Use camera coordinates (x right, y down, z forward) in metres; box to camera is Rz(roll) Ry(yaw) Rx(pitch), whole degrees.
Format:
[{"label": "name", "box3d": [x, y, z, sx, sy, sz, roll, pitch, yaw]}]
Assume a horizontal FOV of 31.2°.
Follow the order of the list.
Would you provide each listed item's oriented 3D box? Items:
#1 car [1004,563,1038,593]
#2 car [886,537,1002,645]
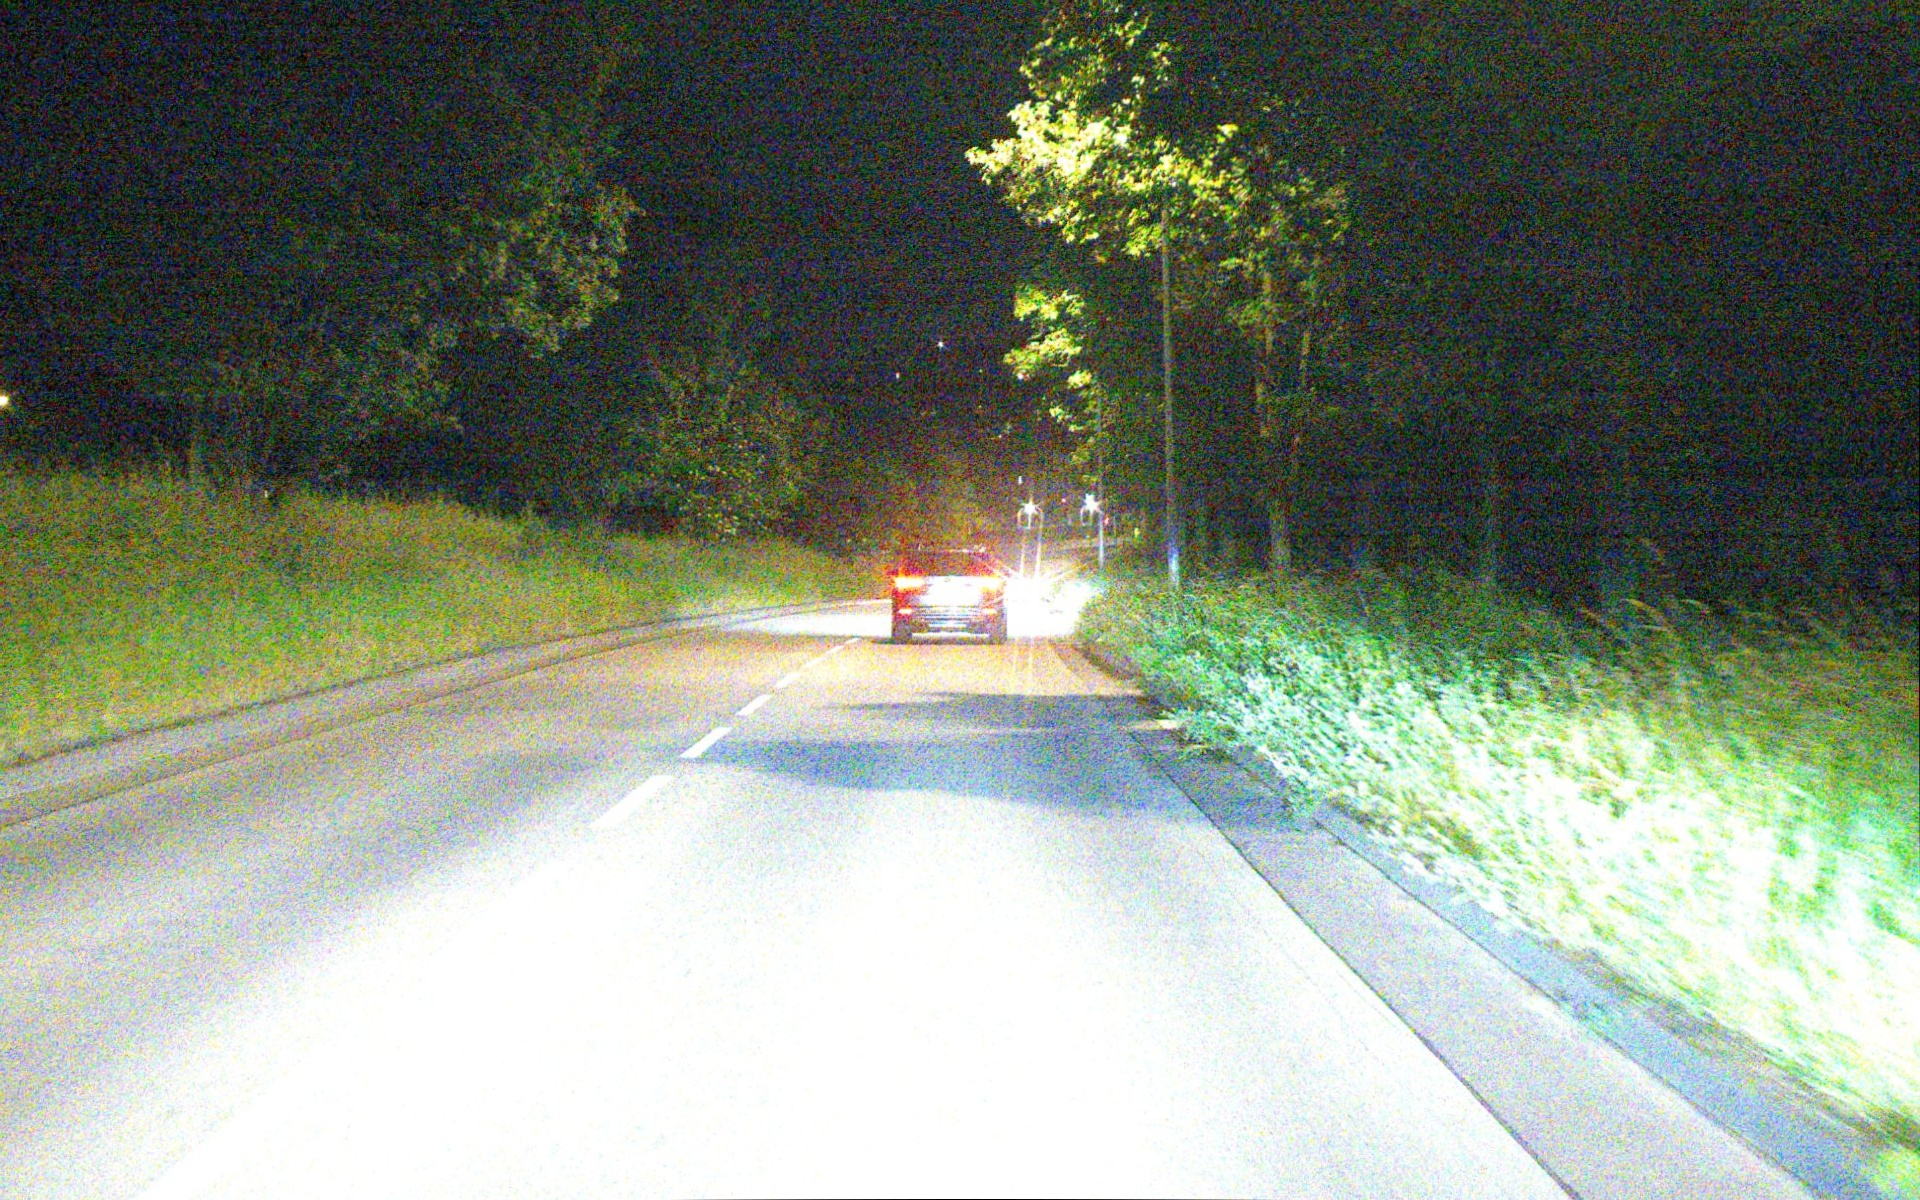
[{"label": "car", "box3d": [3.083, -1.101, 174.956, 1.687, 1.452, 4.000, 1, 0, 1]}, {"label": "car", "box3d": [-0.278, -0.161, 55.189, 1.763, 1.636, 3.723, 1, 1, -1]}]
